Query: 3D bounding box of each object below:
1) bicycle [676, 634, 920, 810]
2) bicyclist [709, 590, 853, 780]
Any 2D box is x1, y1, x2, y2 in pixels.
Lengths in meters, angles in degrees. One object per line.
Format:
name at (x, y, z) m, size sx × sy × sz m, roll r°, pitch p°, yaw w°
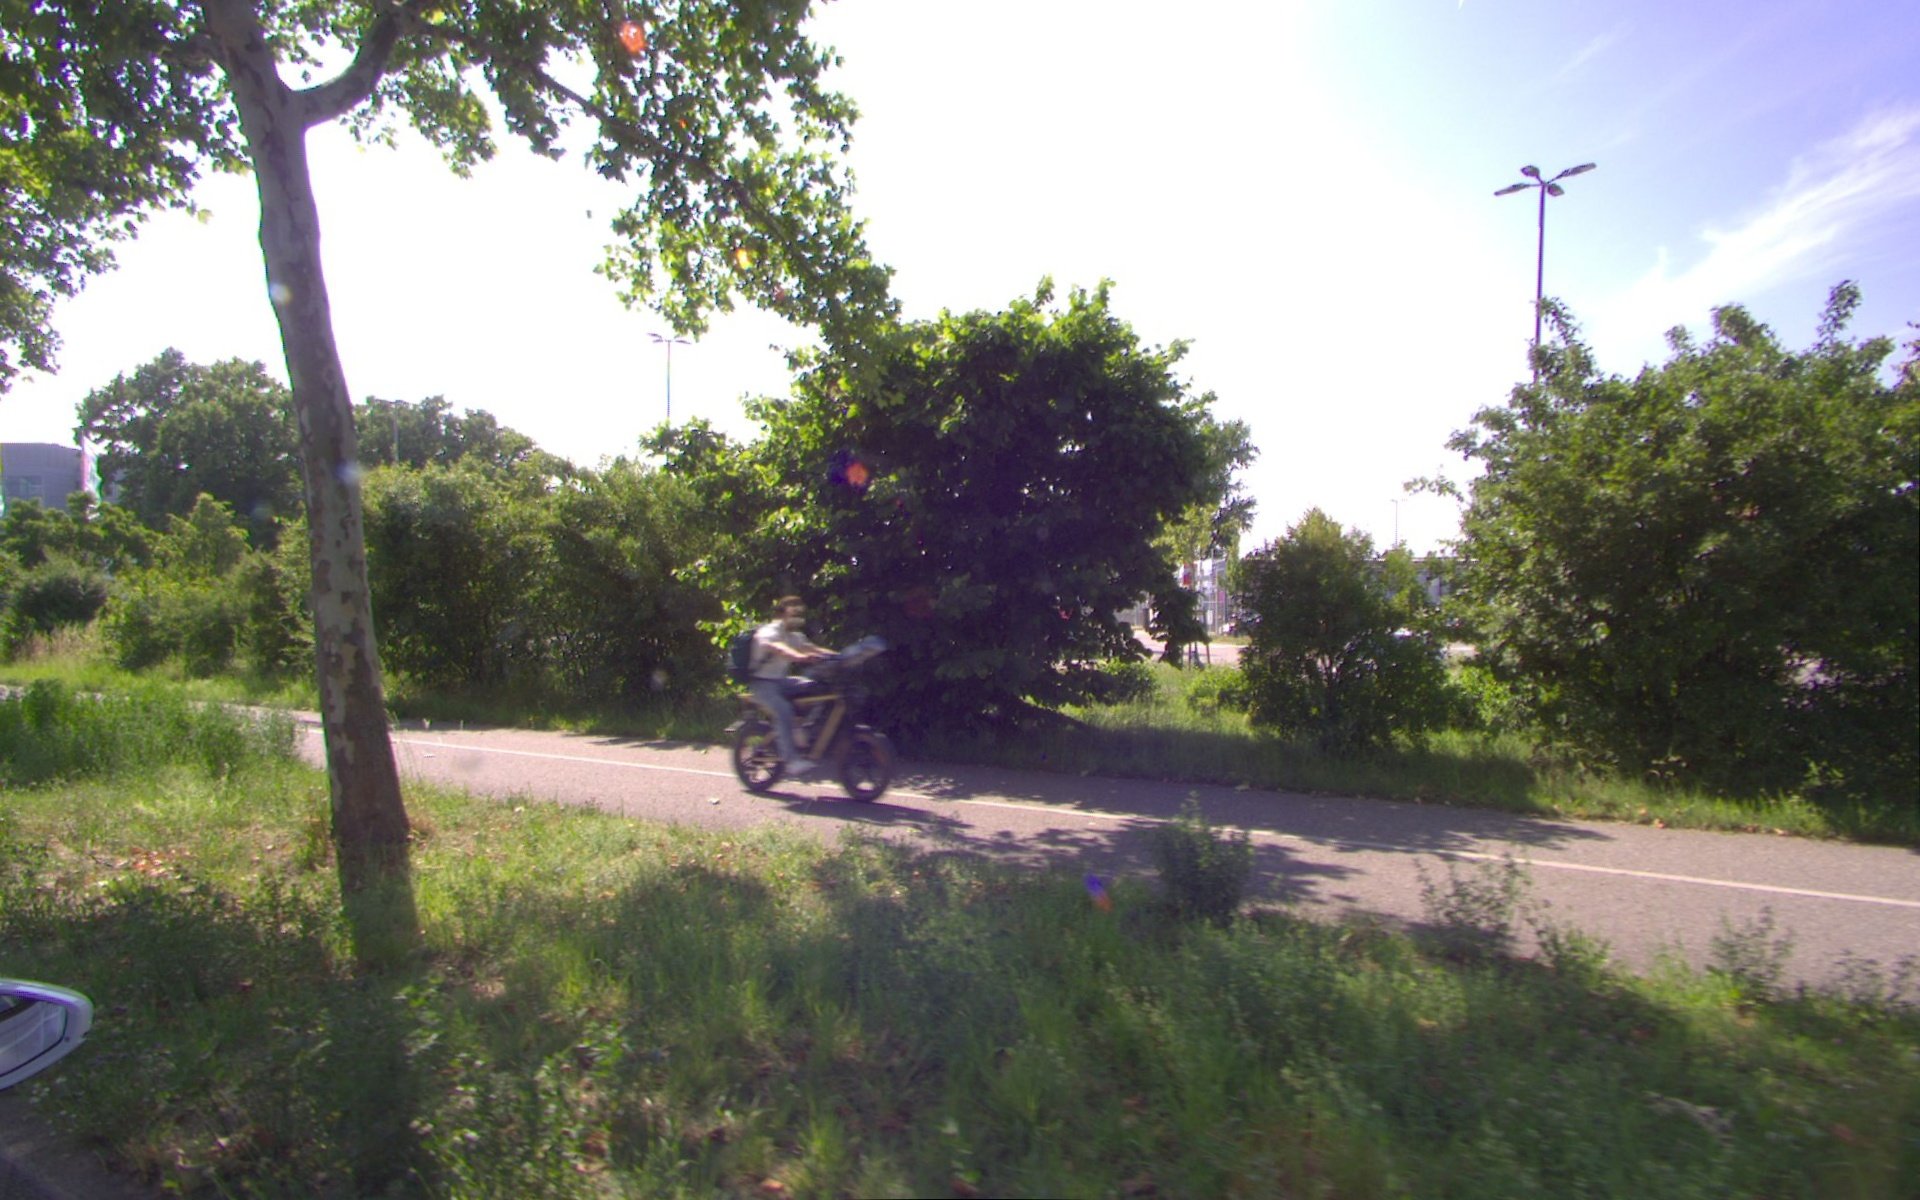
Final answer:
bicycle at (-1.380, 0.942, 8.365) m, size 2.066 × 1.315 × 0.721 m, roll -1°, pitch -1°, yaw 33°
bicyclist at (-1.514, 0.689, 8.476) m, size 0.995 × 1.496 × 0.703 m, roll -1°, pitch -1°, yaw 33°
